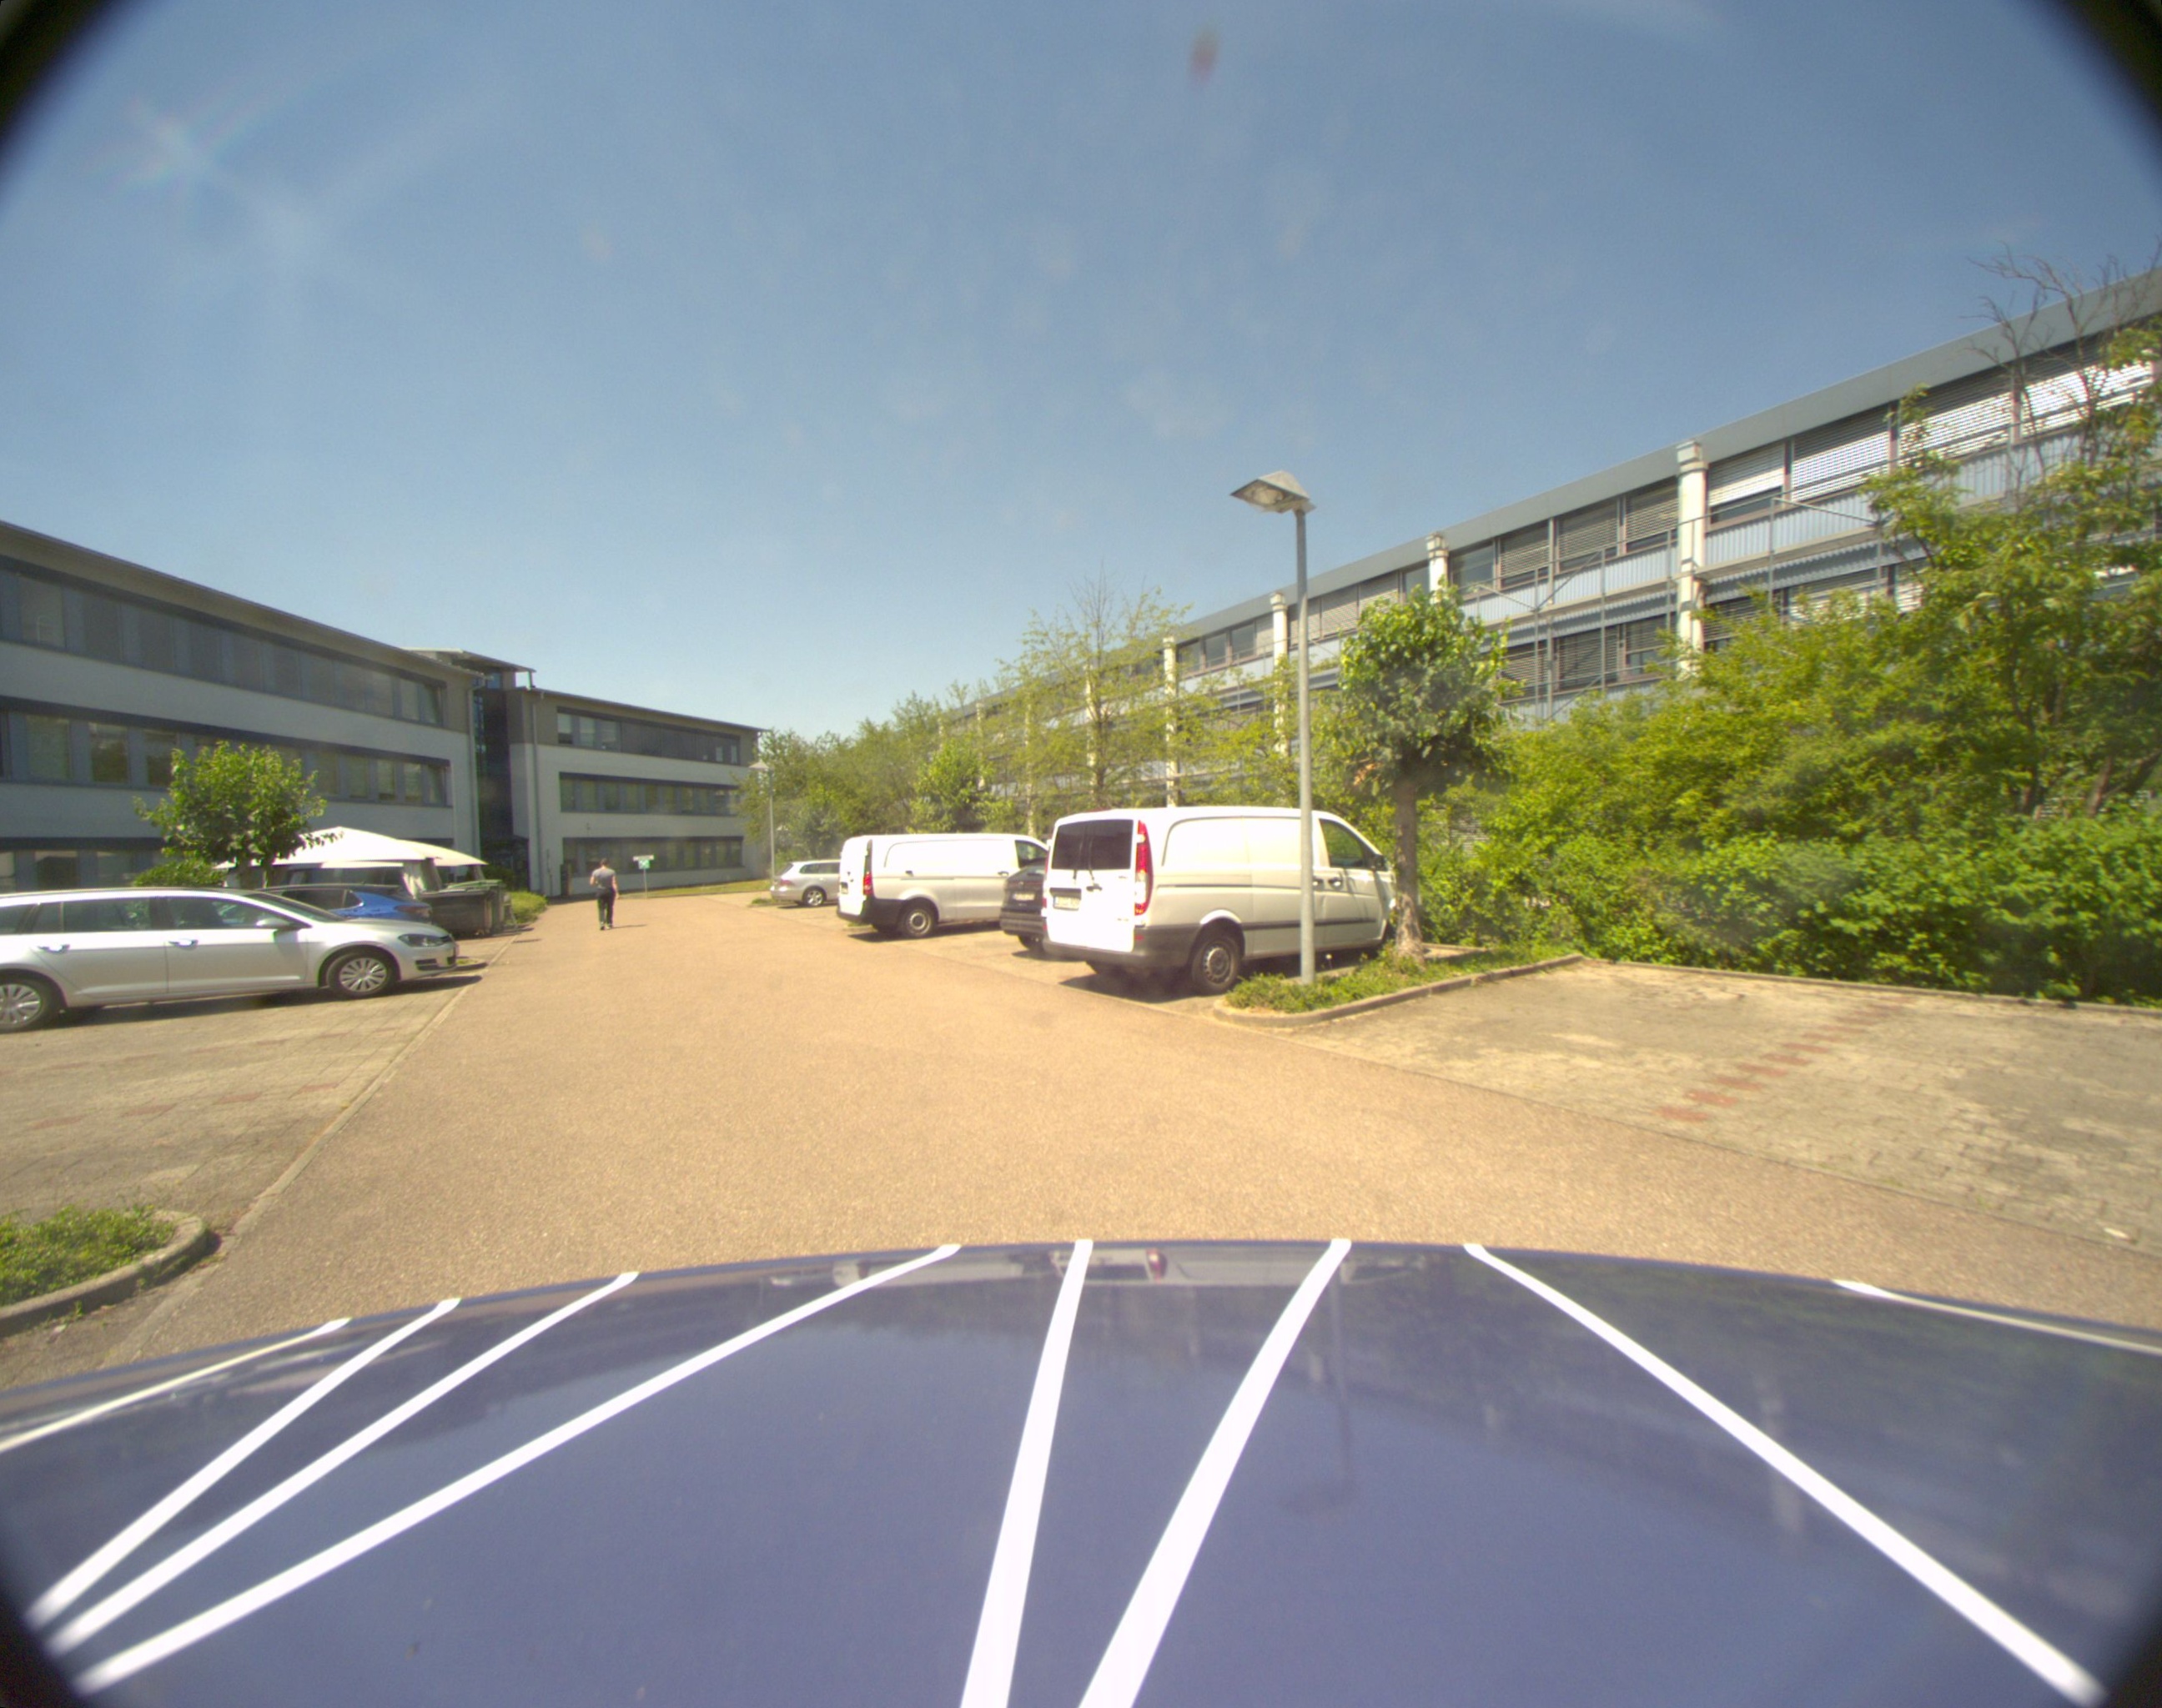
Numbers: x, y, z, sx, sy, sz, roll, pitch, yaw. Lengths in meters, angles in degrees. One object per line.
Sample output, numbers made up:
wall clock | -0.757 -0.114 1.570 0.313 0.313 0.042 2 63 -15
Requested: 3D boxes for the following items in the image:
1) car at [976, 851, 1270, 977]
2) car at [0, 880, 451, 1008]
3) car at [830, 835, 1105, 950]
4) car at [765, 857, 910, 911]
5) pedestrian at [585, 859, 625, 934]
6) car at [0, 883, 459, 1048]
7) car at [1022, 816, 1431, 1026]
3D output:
car | 0.725 0.763 11.502 4.205 1.475 1.735 -2 1 -34
car | -13.017 1.259 11.931 4.620 1.485 1.852 -1 0 -34
car | -2.135 0.632 14.900 4.942 1.845 1.852 -2 1 -32
car | -7.782 0.918 24.398 4.091 1.475 1.735 -2 1 -31
pedestrian | -11.502 1.003 18.390 0.699 1.747 0.775 -4 2 -30
car | -10.543 1.211 9.215 4.435 1.511 1.852 -1 0 -34
car | 1.841 0.547 8.847 4.685 1.849 1.864 -2 1 -34
